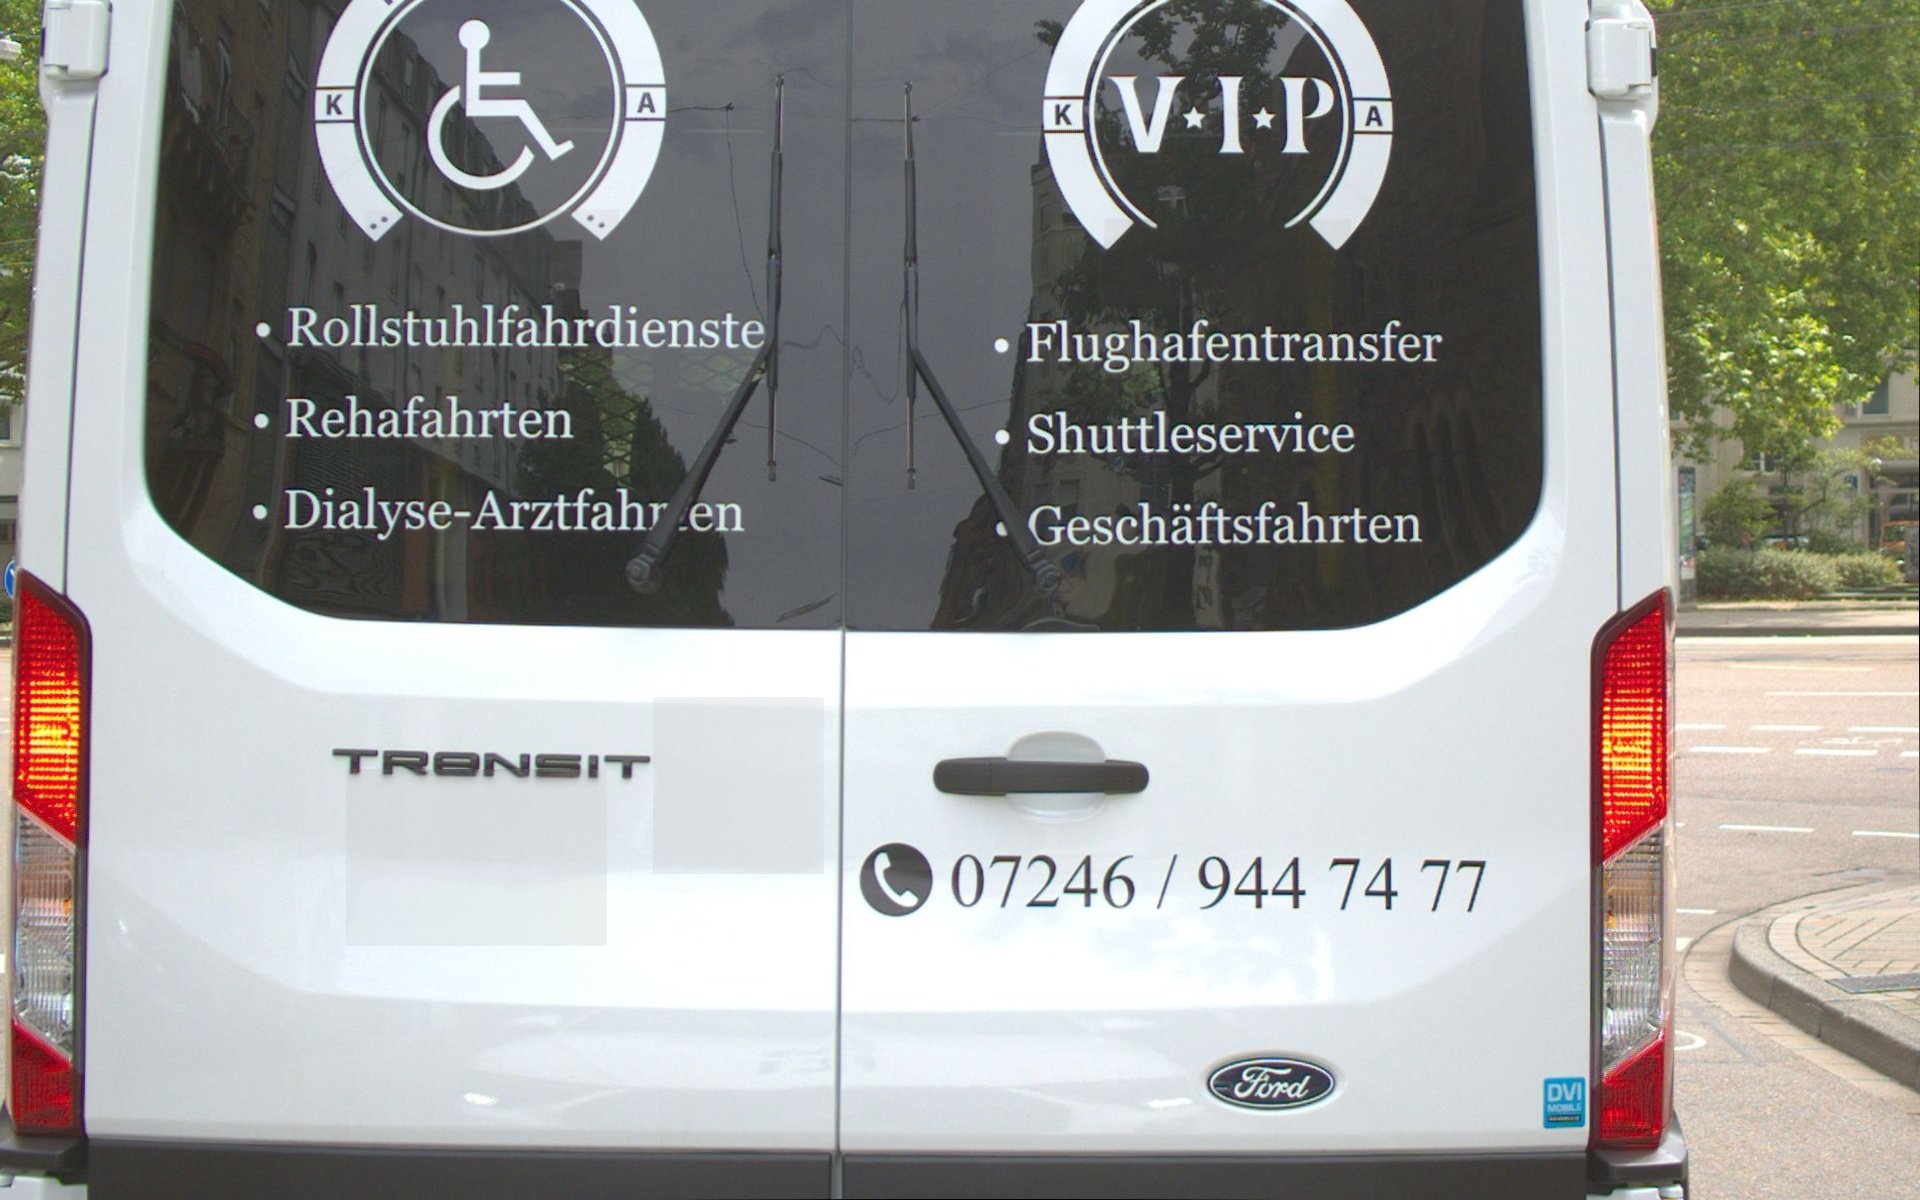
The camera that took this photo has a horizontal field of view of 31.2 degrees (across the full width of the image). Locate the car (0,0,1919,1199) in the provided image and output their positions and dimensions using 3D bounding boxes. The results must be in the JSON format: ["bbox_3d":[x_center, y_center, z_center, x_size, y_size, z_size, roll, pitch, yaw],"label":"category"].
[{"bbox_3d":[-0.188,0.058,5.798,2.181,2.638,4.629,1,2,-2],"label":"car"}]

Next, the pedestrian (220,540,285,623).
[{"bbox_3d":[-12.983,-0.340,63.072,0.930,1.509,0.723,0,1,14],"label":"pedestrian"}]

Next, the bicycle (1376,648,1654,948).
[{"bbox_3d":[2.326,0.771,14.189,0.903,1.071,1.968,0,1,16],"label":"bicycle"}]

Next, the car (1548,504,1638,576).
[{"bbox_3d":[17.447,-1.674,94.929,1.994,1.924,4.000,-1,1,4],"label":"car"}]

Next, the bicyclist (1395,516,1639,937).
[{"bbox_3d":[2.308,0.496,14.178,0.904,1.677,0.756,0,1,15],"label":"bicyclist"}]

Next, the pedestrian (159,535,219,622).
[{"bbox_3d":[-14.181,-0.398,63.247,0.807,1.567,0.723,0,1,14],"label":"pedestrian"}]
